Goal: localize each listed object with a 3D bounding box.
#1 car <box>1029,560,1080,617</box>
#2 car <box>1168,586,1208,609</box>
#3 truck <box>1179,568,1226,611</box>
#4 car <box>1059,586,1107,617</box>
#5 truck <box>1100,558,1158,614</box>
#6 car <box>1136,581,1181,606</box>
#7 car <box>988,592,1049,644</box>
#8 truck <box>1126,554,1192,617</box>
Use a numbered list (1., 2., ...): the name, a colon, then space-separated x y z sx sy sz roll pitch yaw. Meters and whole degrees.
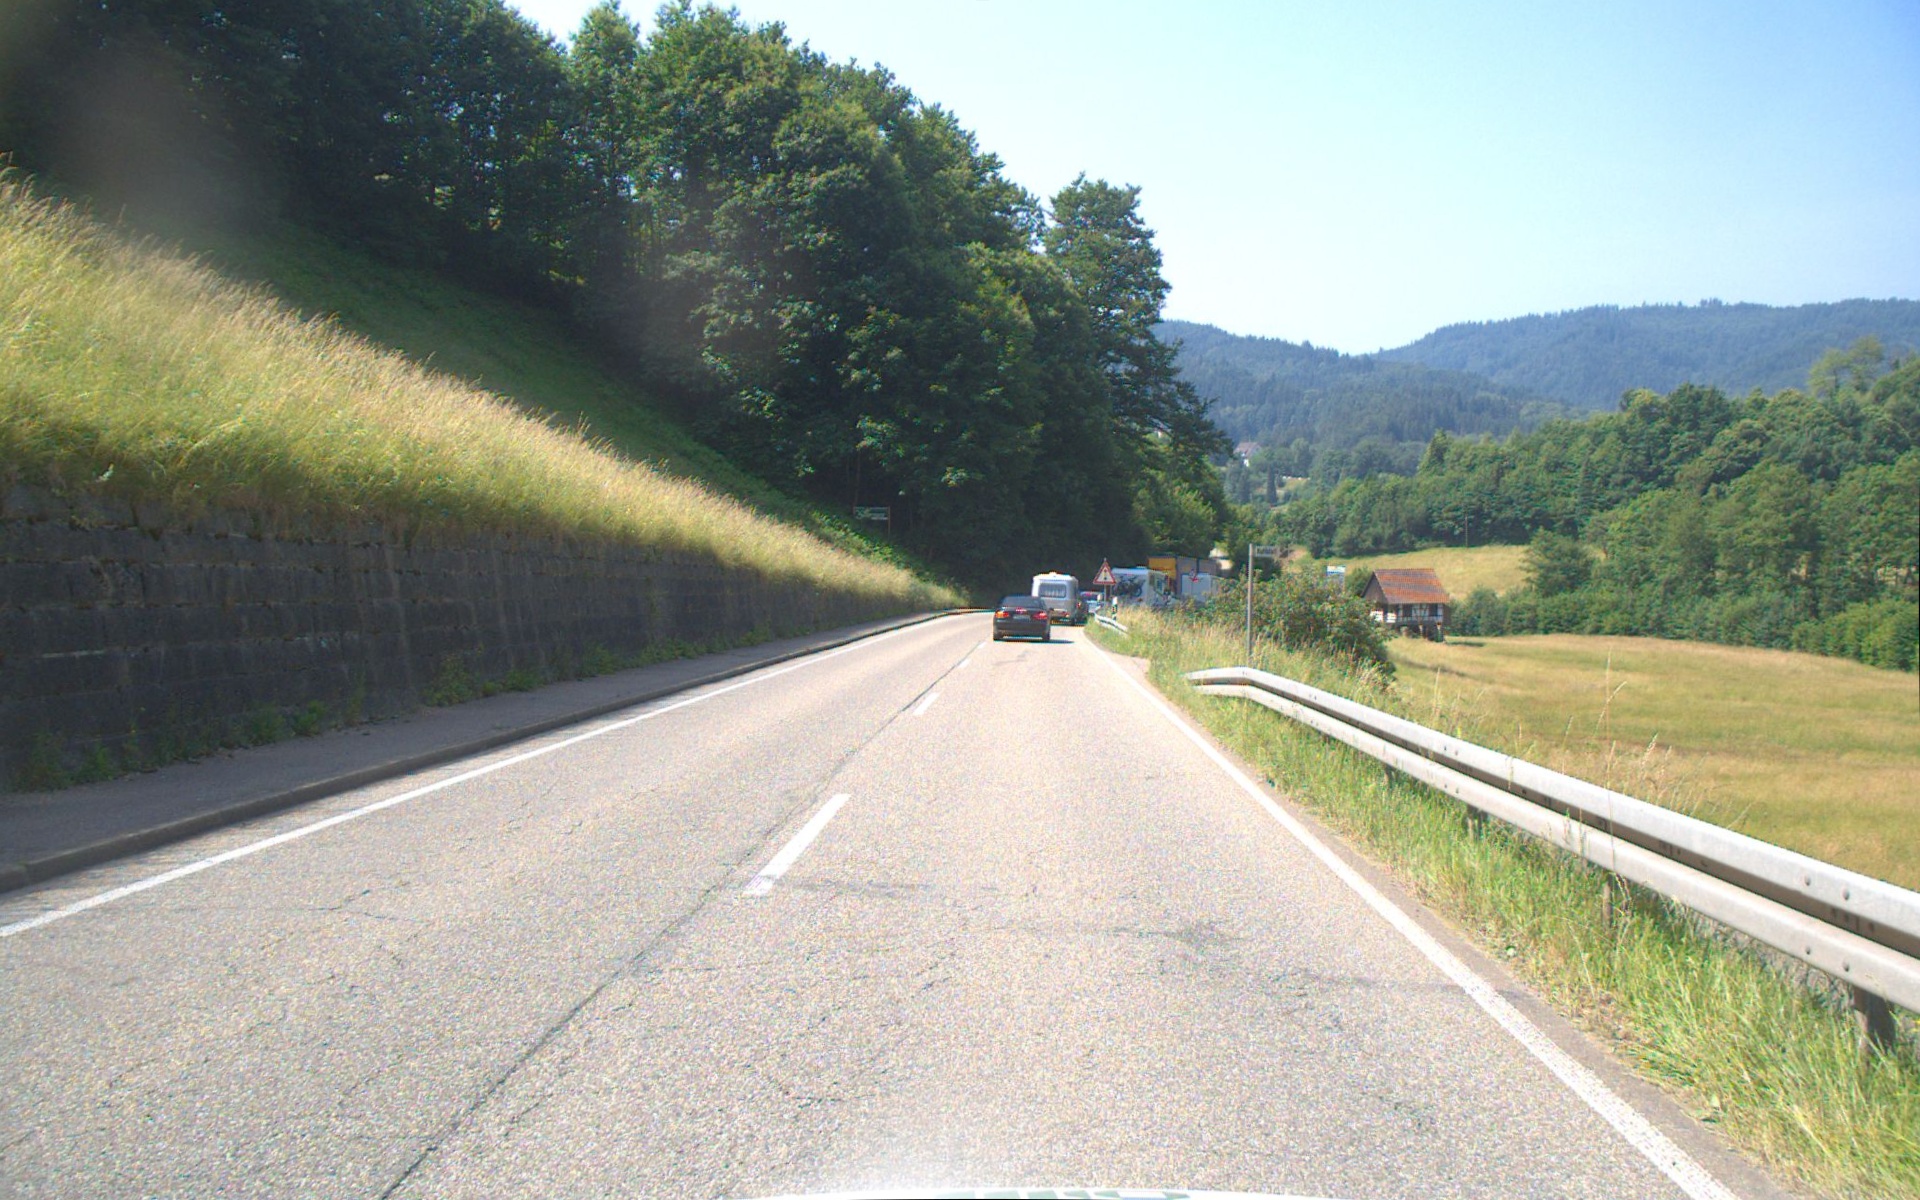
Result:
1. car: 4.333 -0.573 75.377 1.951 2.393 4.918 2 2 6
2. car: 15.902 -0.188 115.178 1.751 1.489 4.000 5 2 22
3. truck: 17.872 -0.726 121.767 2.191 2.852 6.233 3 0 19
4. car: 6.570 0.060 88.210 1.951 1.509 4.004 4 1 12
5. truck: 10.305 -0.868 100.287 2.732 3.049 6.874 4 2 11
6. car: 13.036 -0.445 108.464 1.953 1.489 4.001 5 2 20
7. car: 1.779 0.531 50.441 1.734 1.358 3.768 2 2 1
8. truck: 15.099 -1.085 125.000 3.124 4.472 6.571 3 2 22
